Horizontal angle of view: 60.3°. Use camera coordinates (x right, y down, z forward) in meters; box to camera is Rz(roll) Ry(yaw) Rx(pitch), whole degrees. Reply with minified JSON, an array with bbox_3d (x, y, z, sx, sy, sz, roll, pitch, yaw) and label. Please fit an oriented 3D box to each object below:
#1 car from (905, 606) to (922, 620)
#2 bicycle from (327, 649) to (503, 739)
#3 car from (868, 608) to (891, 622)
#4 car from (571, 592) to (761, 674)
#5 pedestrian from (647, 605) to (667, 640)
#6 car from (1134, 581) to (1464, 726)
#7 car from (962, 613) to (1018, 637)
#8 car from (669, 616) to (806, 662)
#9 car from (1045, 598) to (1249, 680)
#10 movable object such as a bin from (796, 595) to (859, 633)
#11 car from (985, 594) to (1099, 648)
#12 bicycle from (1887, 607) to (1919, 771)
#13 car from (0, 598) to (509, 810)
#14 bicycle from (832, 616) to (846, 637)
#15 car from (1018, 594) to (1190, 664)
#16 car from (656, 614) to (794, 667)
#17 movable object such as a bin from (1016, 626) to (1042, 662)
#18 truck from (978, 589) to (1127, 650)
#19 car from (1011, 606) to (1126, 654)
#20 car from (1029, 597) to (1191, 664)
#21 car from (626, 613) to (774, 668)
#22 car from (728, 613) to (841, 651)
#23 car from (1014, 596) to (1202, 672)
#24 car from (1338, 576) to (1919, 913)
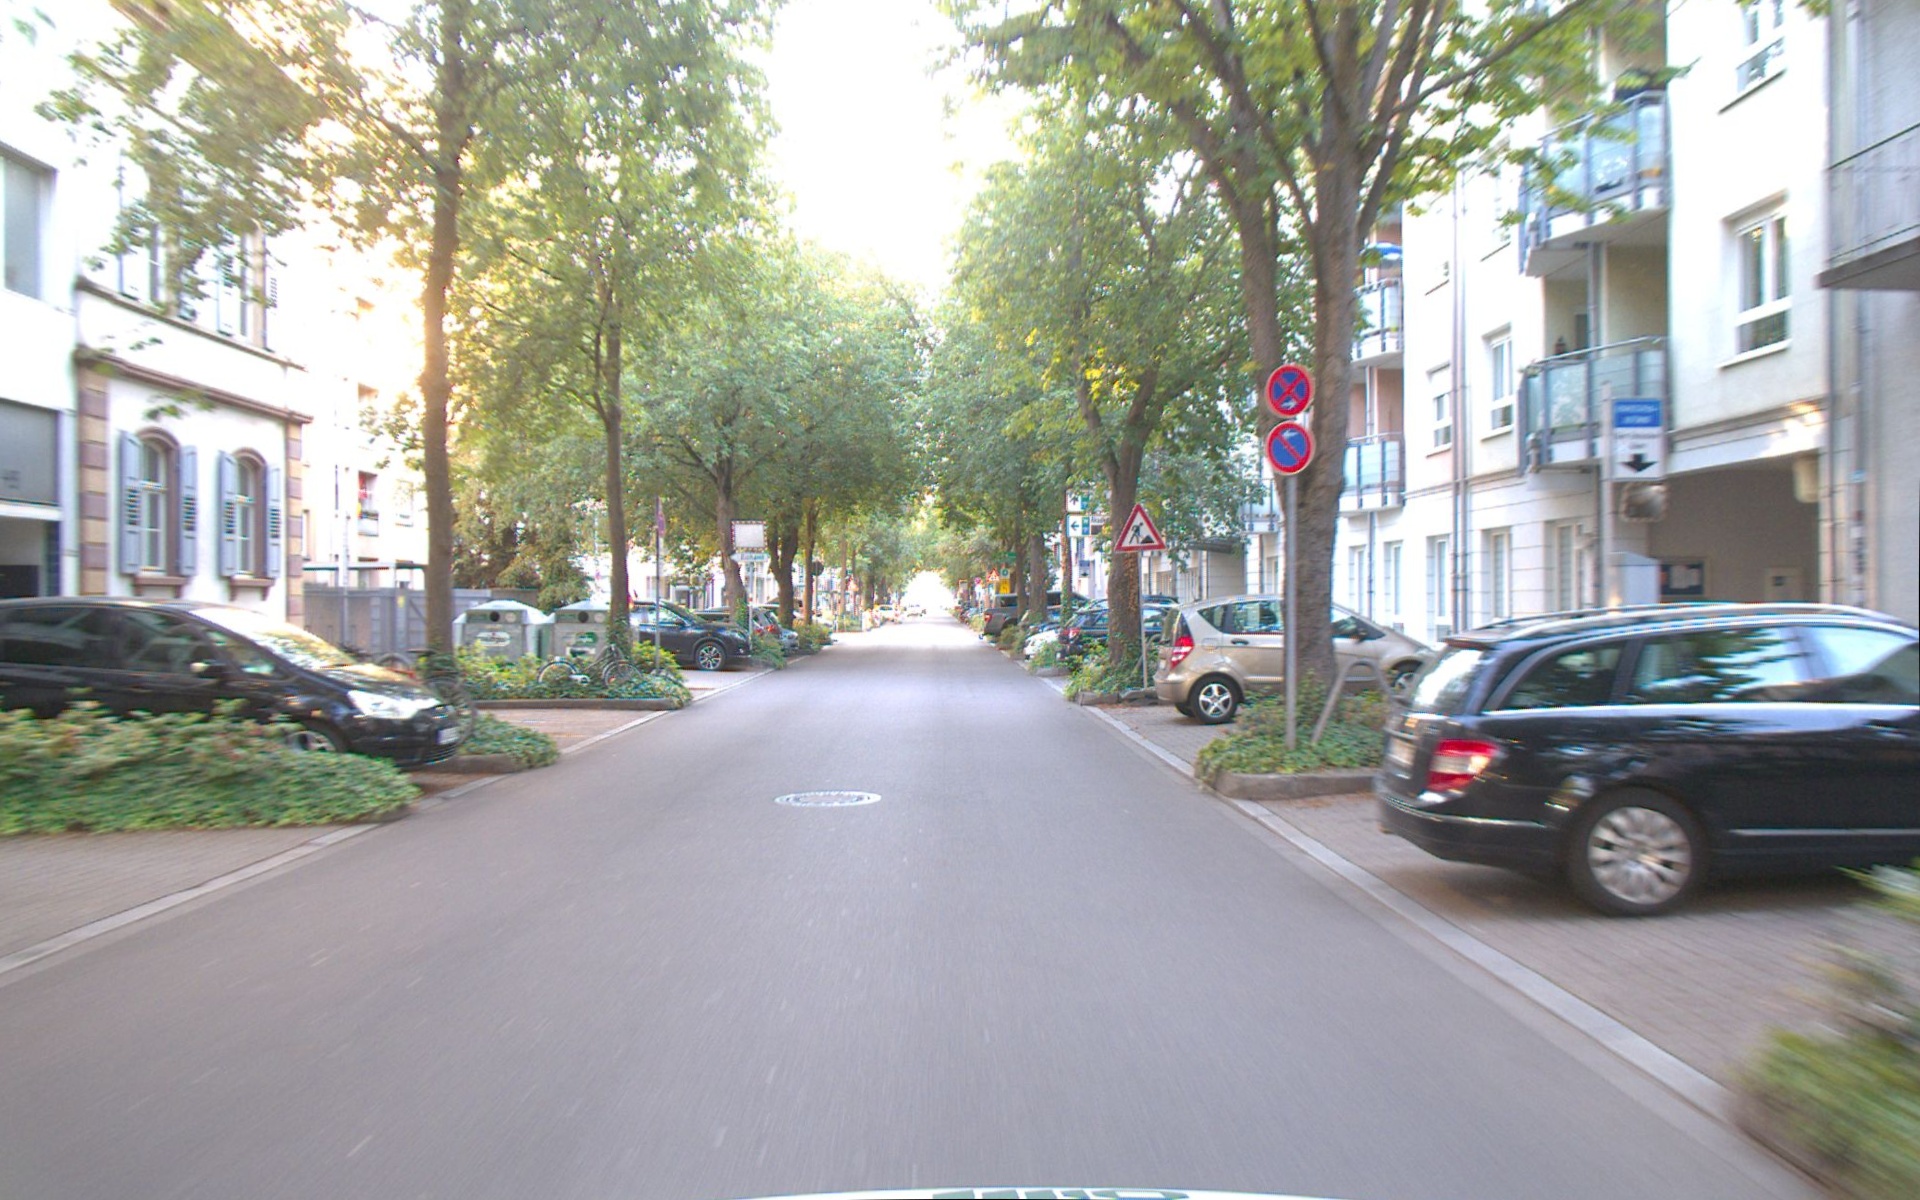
[{"bbox_3d":[-5.514,1.502,195.291,1.969,1.641,4.117,0,0,-2],"label":"car"},{"bbox_3d":[-5.335,0.914,16.239,1.520,0.845,0.613,0,-1,2],"label":"bicycle"},{"bbox_3d":[-7.465,1.388,152.707,1.955,1.311,3.995,0,0,-5],"label":"car"},{"bbox_3d":[-7.226,0.804,41.038,4.415,1.990,1.999,0,-1,-3],"label":"car"},{"bbox_3d":[-16.492,1.203,90.130,0.869,1.883,0.876,0,0,3],"label":"pedestrian"},{"bbox_3d":[4.403,0.683,21.906,3.889,1.613,1.916,-3,0,-2],"label":"car"},{"bbox_3d":[2.141,1.758,116.611,3.905,1.613,2.000,0,-1,0],"label":"car"},{"bbox_3d":[-7.216,1.251,53.931,4.200,1.455,1.879,0,0,-1],"label":"car"},{"bbox_3d":[4.020,0.829,35.924,4.006,1.476,1.932,-4,0,-7],"label":"car"},{"bbox_3d":[-8.632,0.895,107.642,3.969,2.425,2.780,0,0,-7],"label":"movable object such as a bin"},{"bbox_3d":[3.340,0.853,67.977,4.508,2.102,2.196,-1,0,-2],"label":"car"},{"bbox_3d":[7.384,0.630,10.623,0.609,1.184,3.396,-1,0,-7],"label":"bicycle"},{"bbox_3d":[-6.517,0.826,14.087,4.753,1.650,2.160,0,-1,-1],"label":"car"},{"bbox_3d":[-6.818,1.496,93.142,0.670,1.173,1.978,0,0,-6],"label":"bicycle"},{"bbox_3d":[4.062,0.811,47.209,4.553,1.645,2.008,-4,0,-5],"label":"car"},{"bbox_3d":[-7.259,1.236,51.302,3.903,1.593,1.930,0,0,4],"label":"car"},{"bbox_3d":[2.215,1.402,53.028,0.745,1.103,0.785,-2,0,0],"label":"movable object such as a bin"},{"bbox_3d":[3.596,0.769,65.241,5.767,2.351,2.212,0,-1,-1],"label":"truck"},{"bbox_3d":[3.613,1.001,55.619,3.700,1.571,1.876,0,-1,-3],"label":"car"},{"bbox_3d":[3.994,0.815,44.615,4.137,1.463,1.929,-4,-1,1],"label":"car"},{"bbox_3d":[-7.222,1.107,46.257,3.907,1.490,1.921,0,0,-3],"label":"car"},{"bbox_3d":[-7.365,1.319,69.805,4.523,1.579,2.075,0,-1,1],"label":"car"},{"bbox_3d":[3.718,0.843,42.027,4.508,1.492,1.796,-3,5,-2],"label":"car"},{"bbox_3d":[4.418,0.648,8.771,4.366,1.452,2.012,-3,-1,3],"label":"car"}]
